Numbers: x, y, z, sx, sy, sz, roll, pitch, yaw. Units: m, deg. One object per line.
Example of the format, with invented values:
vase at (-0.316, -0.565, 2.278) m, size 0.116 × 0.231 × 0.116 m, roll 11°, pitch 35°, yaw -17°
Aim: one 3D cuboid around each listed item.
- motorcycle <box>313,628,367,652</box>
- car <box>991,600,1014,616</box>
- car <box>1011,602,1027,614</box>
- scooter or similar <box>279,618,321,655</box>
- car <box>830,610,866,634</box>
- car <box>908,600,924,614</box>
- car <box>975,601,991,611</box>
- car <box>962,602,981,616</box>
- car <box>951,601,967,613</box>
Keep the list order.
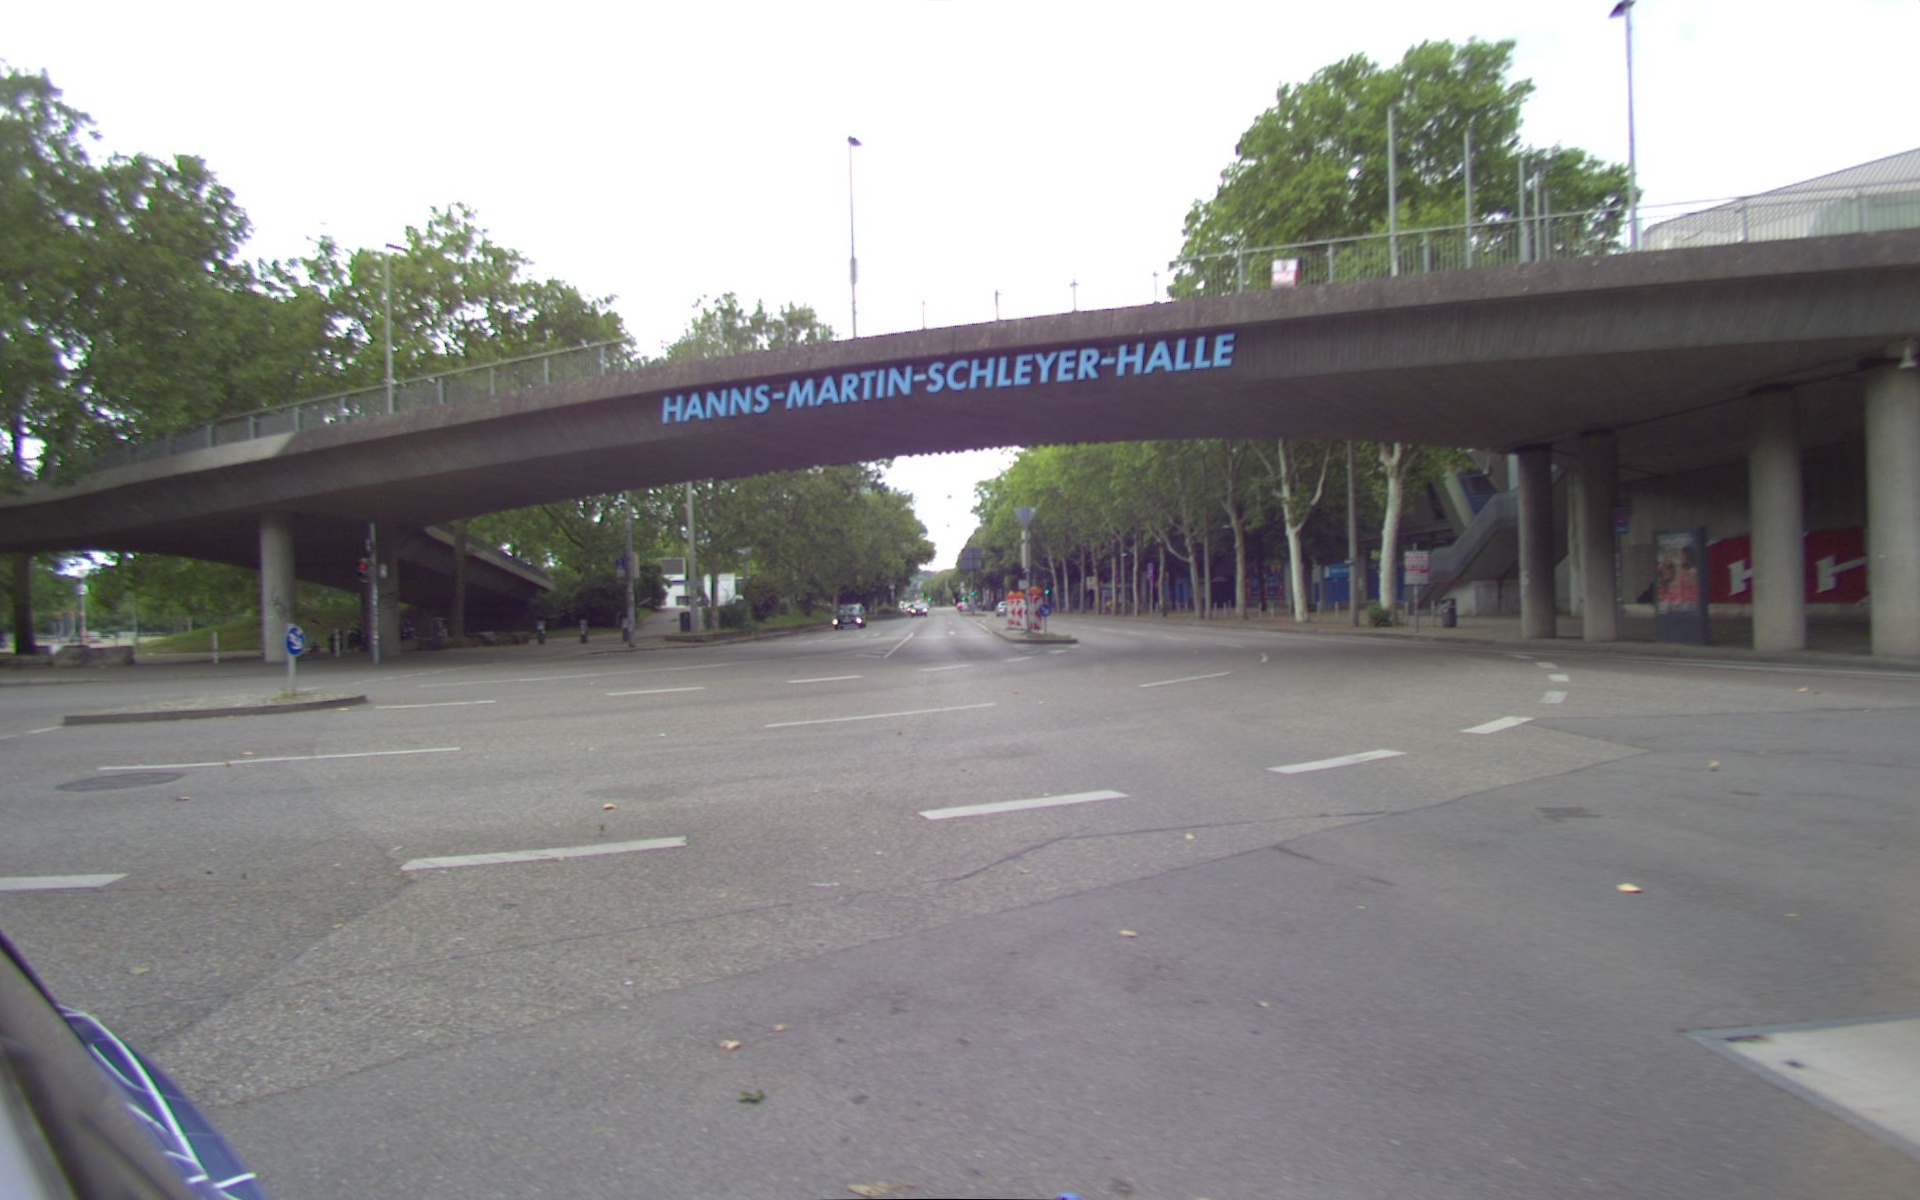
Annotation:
motorcycle at (-24.224, 1.554, 39.544) m, size 1.715 × 0.858 × 0.649 m, roll -2°, pitch 0°, yaw 4°
car at (4.260, 0.792, 102.090) m, size 1.971 × 1.429 × 4.002 m, roll -1°, pitch 1°, yaw -2°
car at (7.044, 0.987, 120.312) m, size 1.593 × 1.323 × 3.396 m, roll -1°, pitch 1°, yaw -1°
scooter or similar at (-23.828, 1.316, 36.530) m, size 1.209 × 1.329 × 0.417 m, roll 0°, pitch -1°, yaw -2°
car at (-6.997, 1.369, 63.541) m, size 1.739 × 1.331 × 3.715 m, roll -1°, pitch 2°, yaw 1°
car at (-5.000, 0.812, 115.102) m, size 1.738 × 1.374 × 3.718 m, roll -1°, pitch 2°, yaw -1°
car at (3.662, 0.984, 161.884) m, size 1.821 × 1.435 × 4.007 m, roll -1°, pitch 0°, yaw -8°
car at (1.226, 0.983, 111.727) m, size 1.971 × 1.429 × 4.001 m, roll -1°, pitch 1°, yaw -1°
car at (-0.207, 1.093, 157.982) m, size 1.968 × 1.672 × 4.007 m, roll -2°, pitch 1°, yaw -8°
